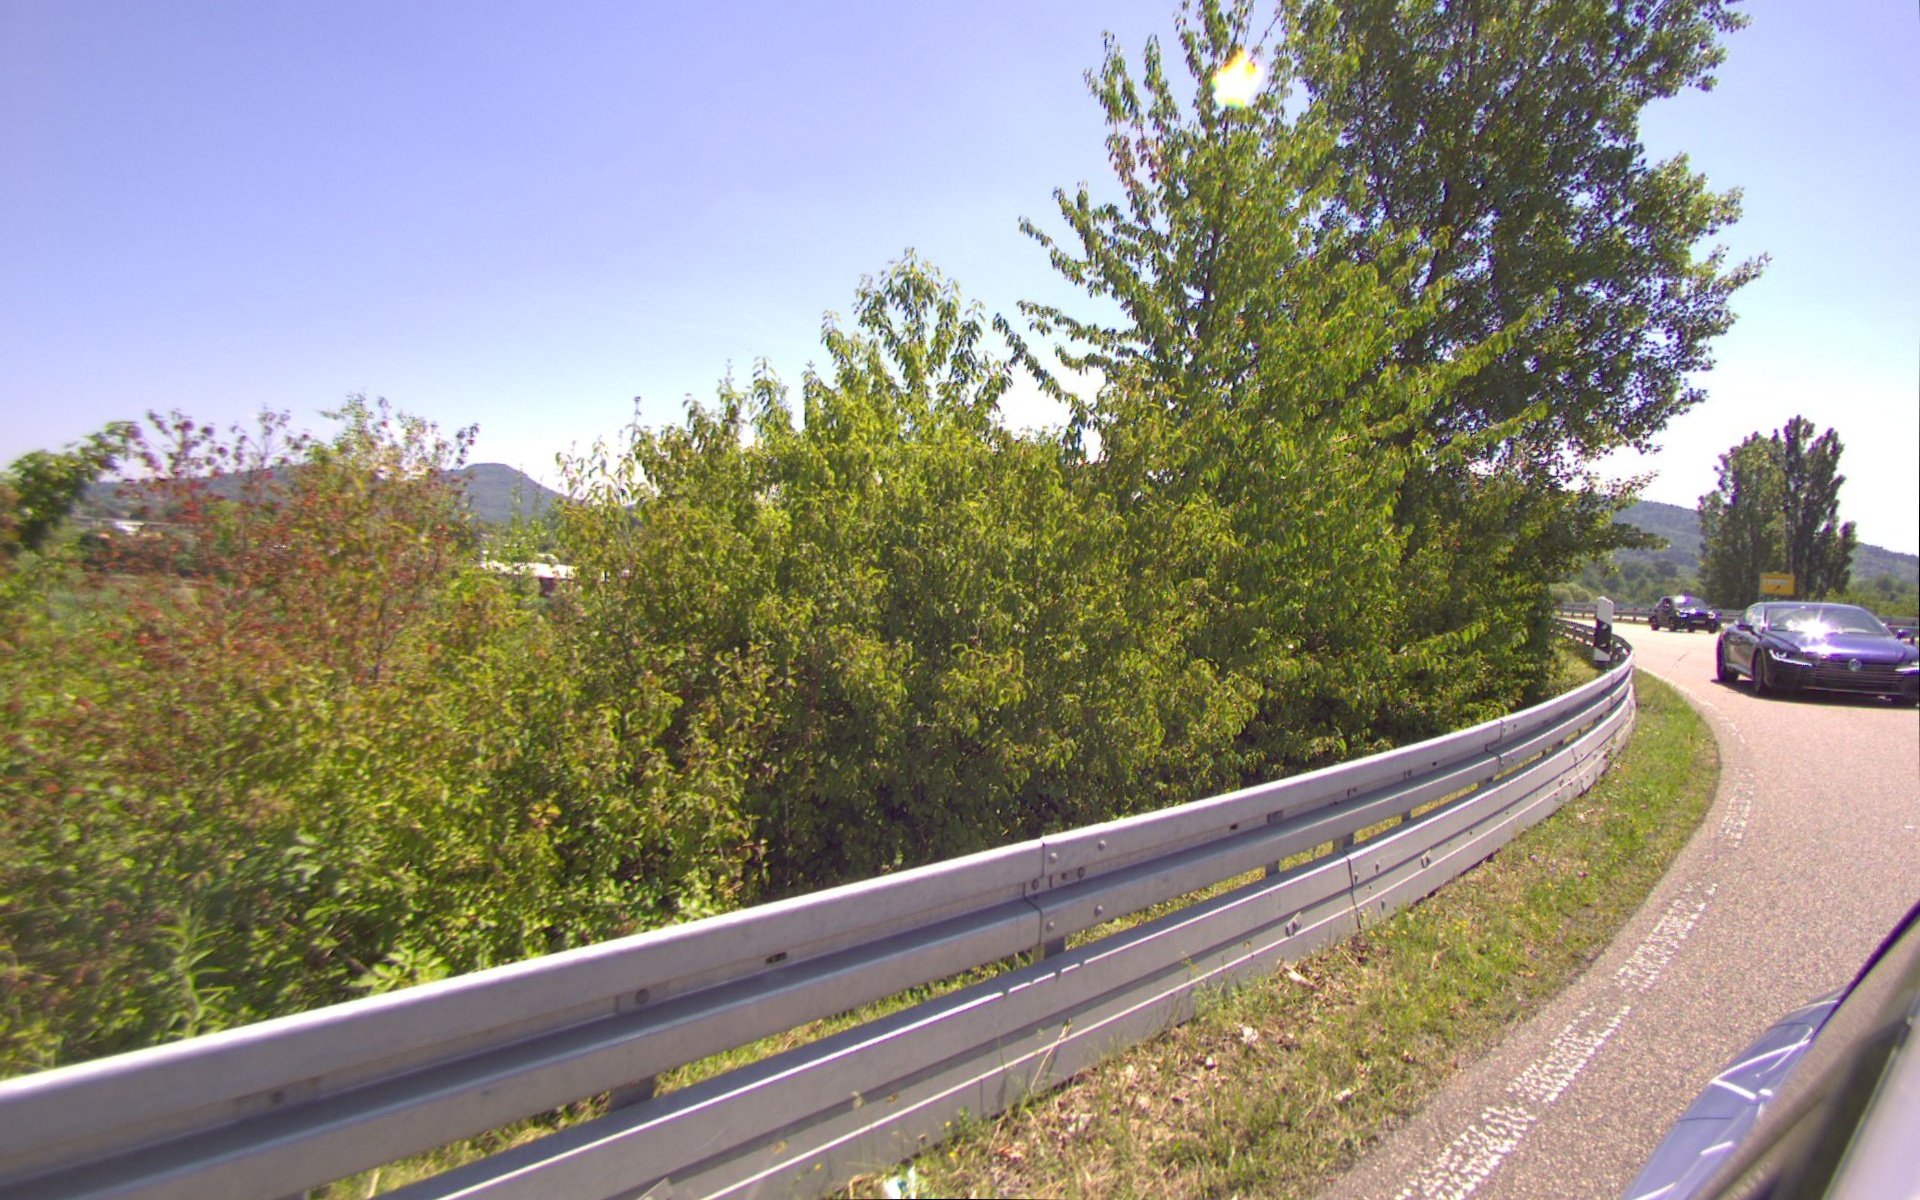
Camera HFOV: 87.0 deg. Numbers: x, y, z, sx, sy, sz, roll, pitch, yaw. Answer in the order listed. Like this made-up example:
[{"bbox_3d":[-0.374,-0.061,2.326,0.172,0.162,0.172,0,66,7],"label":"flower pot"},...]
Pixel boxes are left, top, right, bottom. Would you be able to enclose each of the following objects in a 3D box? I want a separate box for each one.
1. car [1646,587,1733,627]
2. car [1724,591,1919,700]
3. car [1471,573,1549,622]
[{"bbox_3d":[31.921,0.280,44.414,1.806,1.631,3.980,1,0,16],"label":"car"},{"bbox_3d":[13.346,0.583,15.673,1.828,1.448,4.486,0,0,29],"label":"car"},{"bbox_3d":[23.723,-0.136,43.835,1.972,1.975,4.621,1,1,16],"label":"car"}]
